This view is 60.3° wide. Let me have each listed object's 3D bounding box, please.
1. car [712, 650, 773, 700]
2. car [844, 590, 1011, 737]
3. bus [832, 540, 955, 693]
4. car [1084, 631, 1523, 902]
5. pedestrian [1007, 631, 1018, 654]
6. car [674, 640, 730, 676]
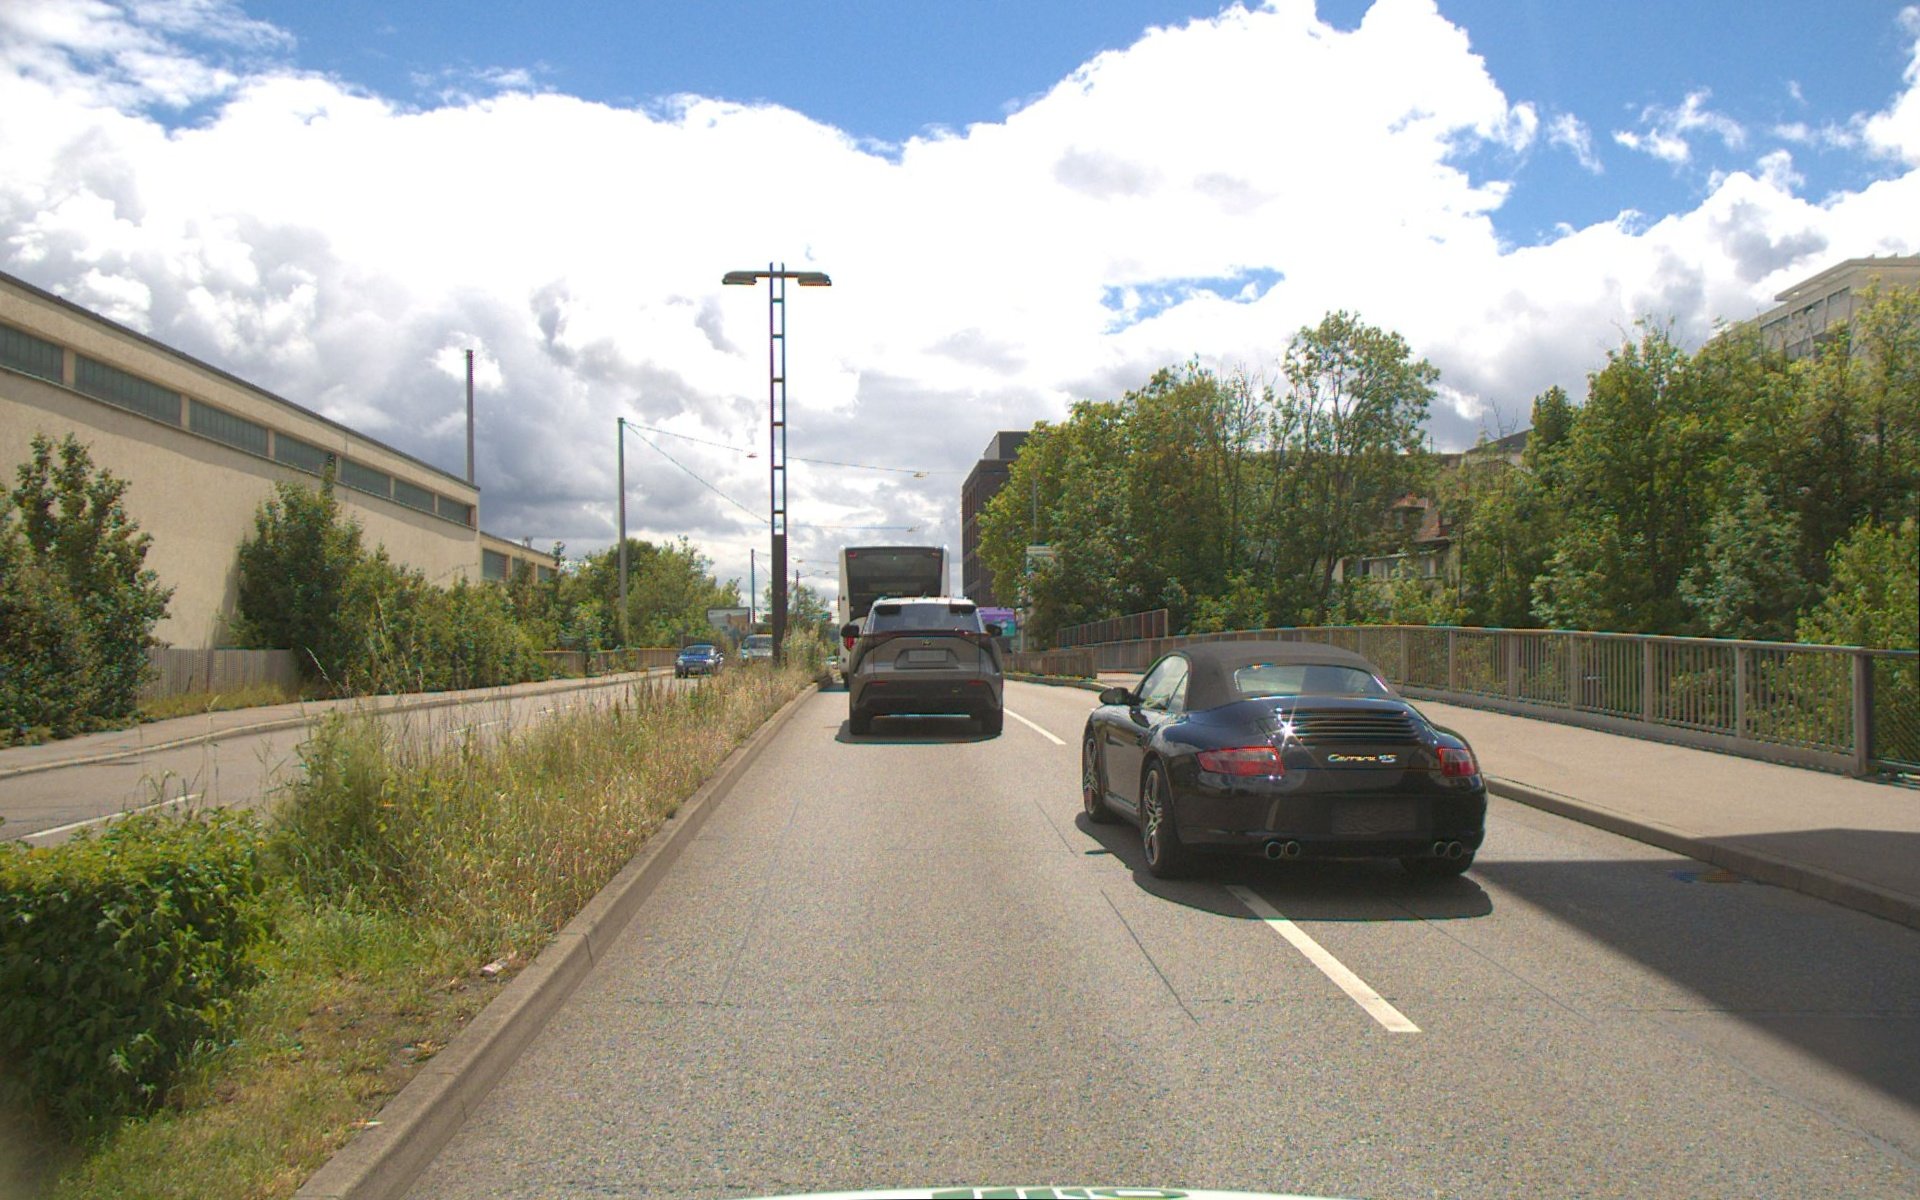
[{"bbox_3d":[-8.067,2.758,61.642,1.840,1.655,4.440,-2,0,-3],"label":"car"},{"bbox_3d":[-0.415,0.731,20.643,1.842,1.622,4.228,1,-1,-2],"label":"car"},{"bbox_3d":[-1.703,0.282,42.393,2.635,3.312,12.052,1,1,-2],"label":"bus"},{"bbox_3d":[1.885,0.873,10.331,1.685,1.297,4.085,0,0,-3],"label":"car"},{"bbox_3d":[3.903,3.167,123.222,0.666,1.726,0.598,-2,-3,22],"label":"pedestrian"},{"bbox_3d":[-10.300,2.303,66.314,1.719,1.298,3.997,-3,-1,-3],"label":"car"}]
